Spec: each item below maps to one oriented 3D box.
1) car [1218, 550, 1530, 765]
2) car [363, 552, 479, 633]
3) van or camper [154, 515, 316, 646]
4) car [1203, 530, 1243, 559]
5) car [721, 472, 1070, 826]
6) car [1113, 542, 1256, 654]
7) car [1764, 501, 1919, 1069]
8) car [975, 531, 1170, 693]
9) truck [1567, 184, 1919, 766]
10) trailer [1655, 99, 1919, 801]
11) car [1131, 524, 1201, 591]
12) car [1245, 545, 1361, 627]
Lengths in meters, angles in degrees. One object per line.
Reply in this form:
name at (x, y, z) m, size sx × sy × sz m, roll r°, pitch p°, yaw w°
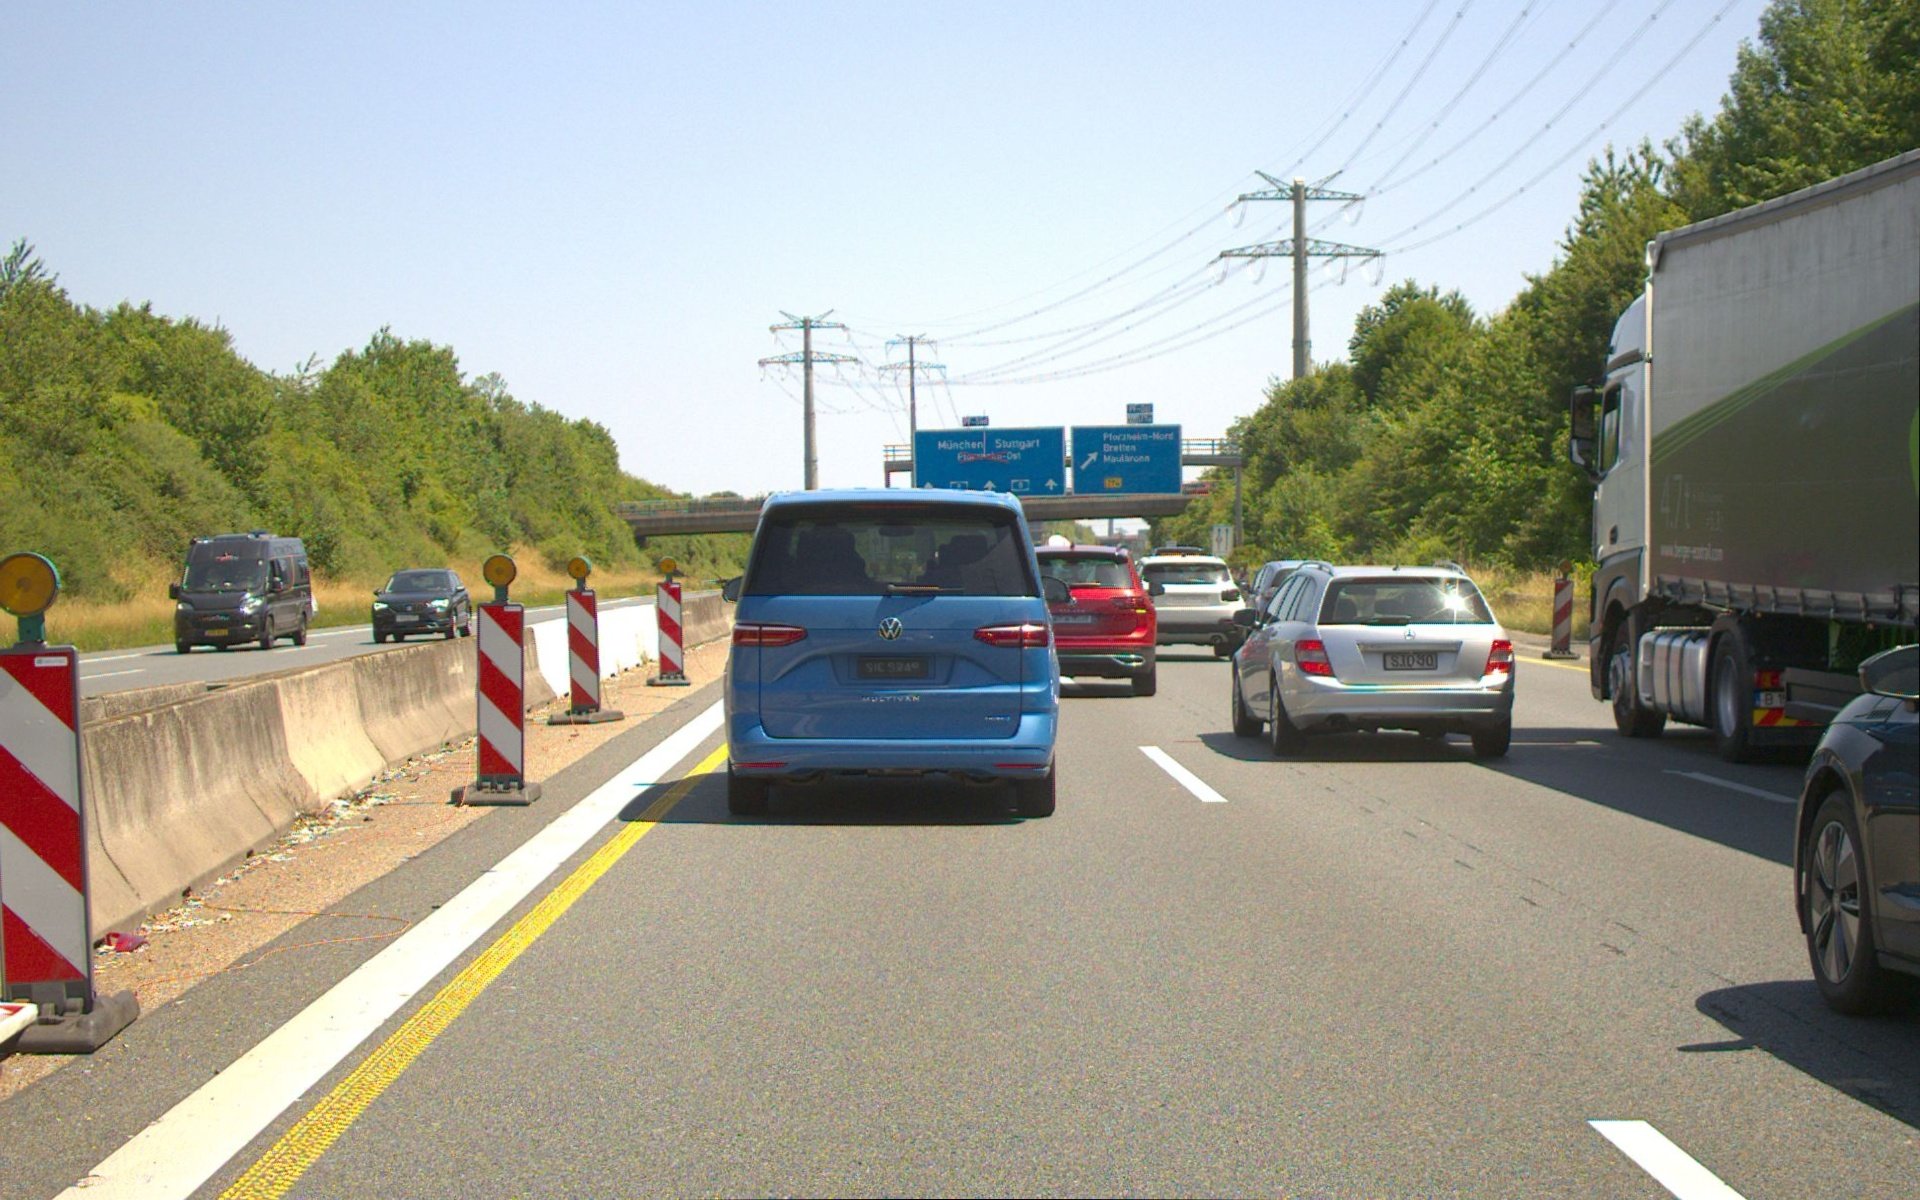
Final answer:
car at (3.136, 0.388, 26.838) m, size 1.770 × 1.512 × 4.360 m, roll 1°, pitch 1°, yaw -2°
car at (-12.145, -0.189, 77.683) m, size 1.993 × 1.678 × 4.153 m, roll -3°, pitch 1°, yaw -1°
van or camper at (-16.232, -0.462, 77.347) m, size 2.222 × 2.701 × 7.081 m, roll -3°, pitch 1°, yaw -2°
car at (15.331, -3.228, 200.526) m, size 1.874 × 1.665 × 4.360 m, roll 1°, pitch 1°, yaw -2°
car at (-0.410, 0.247, 20.952) m, size 1.874 × 1.905 × 4.360 m, roll 1°, pitch 1°, yaw -2°
car at (3.318, -0.049, 51.512) m, size 1.797 × 1.588 × 4.227 m, roll 1°, pitch 1°, yaw -1°
car at (3.660, 0.555, 9.483) m, size 1.700 × 1.649 × 4.430 m, roll 1°, pitch 1°, yaw -2°
car at (1.187, 0.103, 38.106) m, size 1.874 × 1.665 × 4.360 m, roll 1°, pitch 1°, yaw -2°
truck at (6.744, -0.887, 26.895) m, size 2.733 × 4.033 × 5.794 m, roll 1°, pitch 1°, yaw -2°
trailer at (6.894, -0.851, 19.797) m, size 2.783 × 4.033 × 13.113 m, roll 1°, pitch 1°, yaw -1°
car at (6.355, -1.320, 106.351) m, size 1.797 × 2.007 × 4.227 m, roll 1°, pitch 1°, yaw -1°
car at (6.328, -0.279, 63.678) m, size 1.701 × 1.443 × 3.788 m, roll 1°, pitch 1°, yaw -1°
